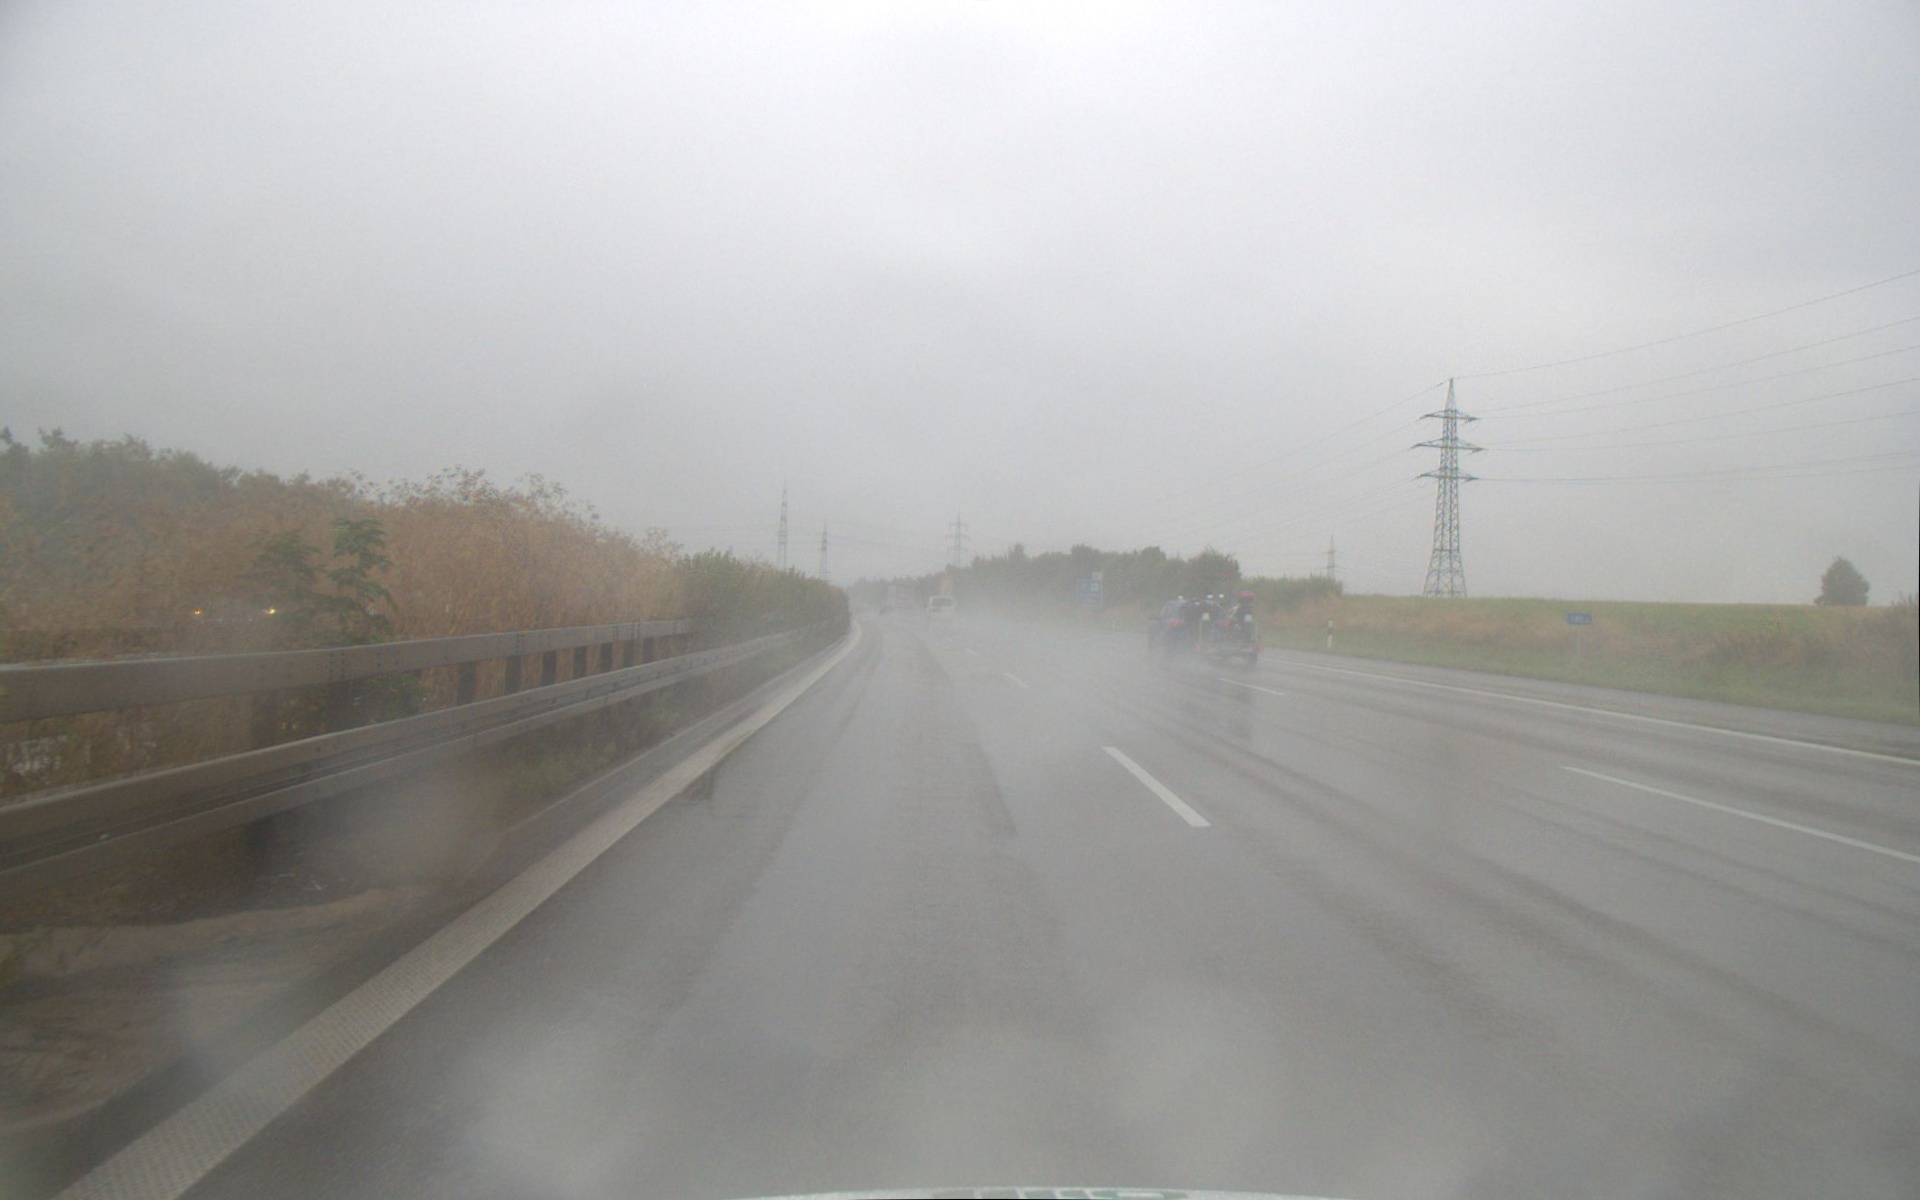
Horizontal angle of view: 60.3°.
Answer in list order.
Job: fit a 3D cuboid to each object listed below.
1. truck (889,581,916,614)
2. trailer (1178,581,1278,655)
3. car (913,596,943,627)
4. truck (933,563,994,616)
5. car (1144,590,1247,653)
[{"bbox_3d":[-7.927,-0.321,227.504,3.169,4.387,8.827,1,0,-5],"label":"truck"},{"bbox_3d":[6.807,0.472,42.313,1.939,1.816,3.187,1,-1,-2],"label":"trailer"},{"bbox_3d":[-2.231,0.800,114.281,1.954,2.049,3.998,1,0,-3],"label":"car"},{"bbox_3d":[0.211,-0.868,156.914,4.108,4.711,16.083,1,-1,-6],"label":"truck"},{"bbox_3d":[6.530,0.613,46.382,1.954,1.647,4.989,1,-1,-3],"label":"car"}]
